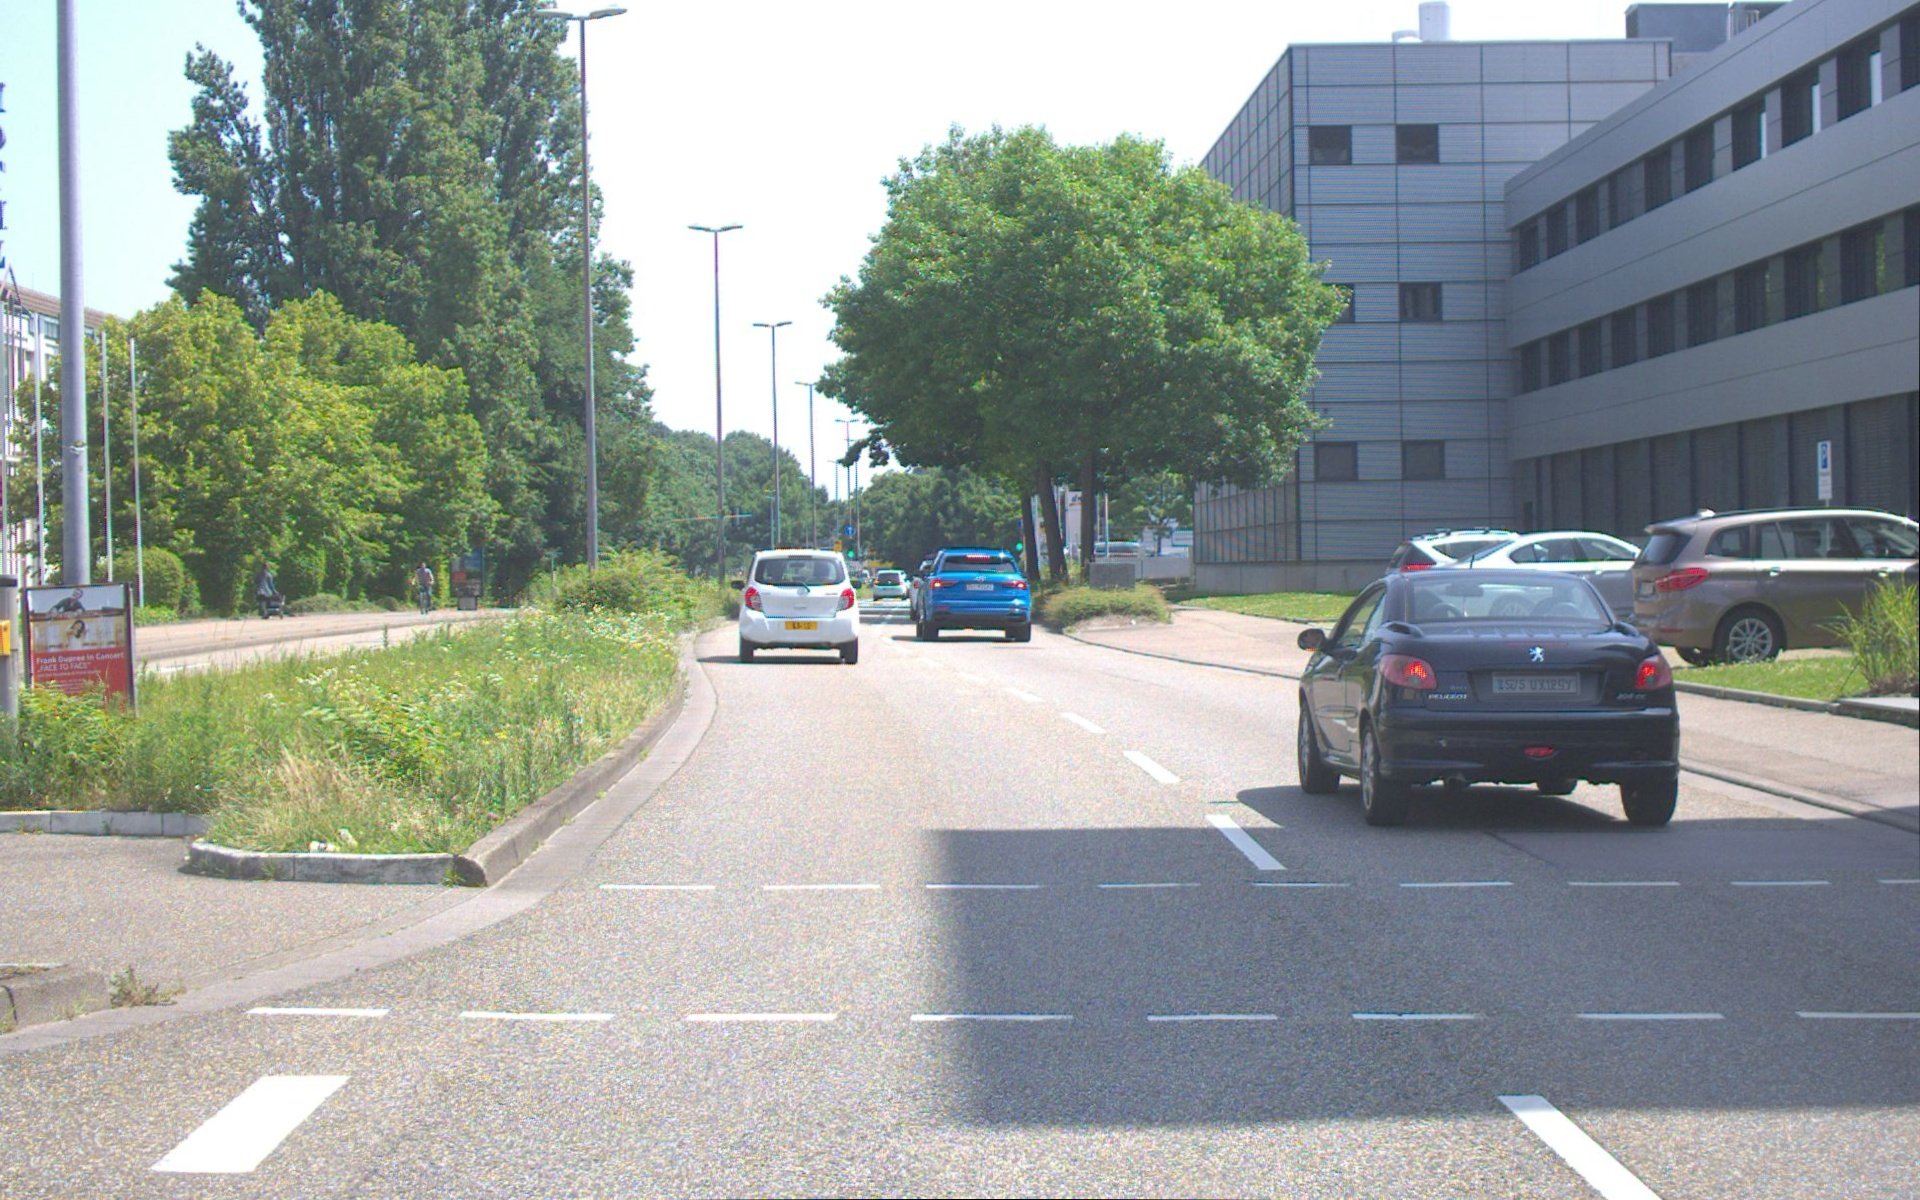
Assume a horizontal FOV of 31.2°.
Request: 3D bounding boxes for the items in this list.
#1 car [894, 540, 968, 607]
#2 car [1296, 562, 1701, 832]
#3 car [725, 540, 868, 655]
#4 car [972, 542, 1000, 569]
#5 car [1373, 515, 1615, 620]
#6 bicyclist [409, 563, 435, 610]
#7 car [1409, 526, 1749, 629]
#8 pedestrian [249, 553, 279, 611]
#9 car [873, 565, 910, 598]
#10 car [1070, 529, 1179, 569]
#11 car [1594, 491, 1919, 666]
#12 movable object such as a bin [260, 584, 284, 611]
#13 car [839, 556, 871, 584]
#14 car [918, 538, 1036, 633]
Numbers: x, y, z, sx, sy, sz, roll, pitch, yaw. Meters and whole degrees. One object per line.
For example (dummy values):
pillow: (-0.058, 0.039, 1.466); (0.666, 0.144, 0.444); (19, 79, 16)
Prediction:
car: (-0.671, -0.638, 81.146); (1.559, 1.515, 3.605); (-1, 1, 2)
car: (2.940, 0.476, 19.451); (1.627, 1.359, 3.606); (0, 1, -2)
car: (-2.223, -0.062, 47.506); (1.748, 1.515, 3.746); (0, 1, 1)
car: (1.929, -3.382, 260.045); (1.769, 2.007, 3.991); (-1, 1, -4)
car: (9.322, -0.567, 60.164); (3.811, 1.586, 1.733); (-4, 1, -5)
bicyclist: (-17.444, -0.433, 111.508); (0.717, 1.511, 1.027); (-1, 0, -4)
car: (9.221, -0.353, 51.435); (4.612, 1.385, 2.000); (-2, 1, -5)
pedestrian: (-18.883, -0.491, 93.267); (0.633, 1.539, 0.727); (-1, 0, -1)
car: (-3.536, -0.970, 176.894); (1.819, 1.656, 4.000); (-1, 1, -1)
car: (7.076, -2.208, 148.274); (4.499, 1.577, 2.000); (-2, 0, -1)
car: (8.954, -0.252, 35.647); (4.258, 1.683, 2.000); (-2, 1, -5)
movable object such as a bin: (-18.573, -0.076, 92.821); (0.428, 0.703, 0.652); (-1, 0, 8)
car: (-6.723, -1.933, 220.354); (1.819, 1.656, 4.001); (-1, 1, -5)
car: (0.264, -0.278, 59.483); (1.827, 1.575, 3.606); (-1, 1, -3)
